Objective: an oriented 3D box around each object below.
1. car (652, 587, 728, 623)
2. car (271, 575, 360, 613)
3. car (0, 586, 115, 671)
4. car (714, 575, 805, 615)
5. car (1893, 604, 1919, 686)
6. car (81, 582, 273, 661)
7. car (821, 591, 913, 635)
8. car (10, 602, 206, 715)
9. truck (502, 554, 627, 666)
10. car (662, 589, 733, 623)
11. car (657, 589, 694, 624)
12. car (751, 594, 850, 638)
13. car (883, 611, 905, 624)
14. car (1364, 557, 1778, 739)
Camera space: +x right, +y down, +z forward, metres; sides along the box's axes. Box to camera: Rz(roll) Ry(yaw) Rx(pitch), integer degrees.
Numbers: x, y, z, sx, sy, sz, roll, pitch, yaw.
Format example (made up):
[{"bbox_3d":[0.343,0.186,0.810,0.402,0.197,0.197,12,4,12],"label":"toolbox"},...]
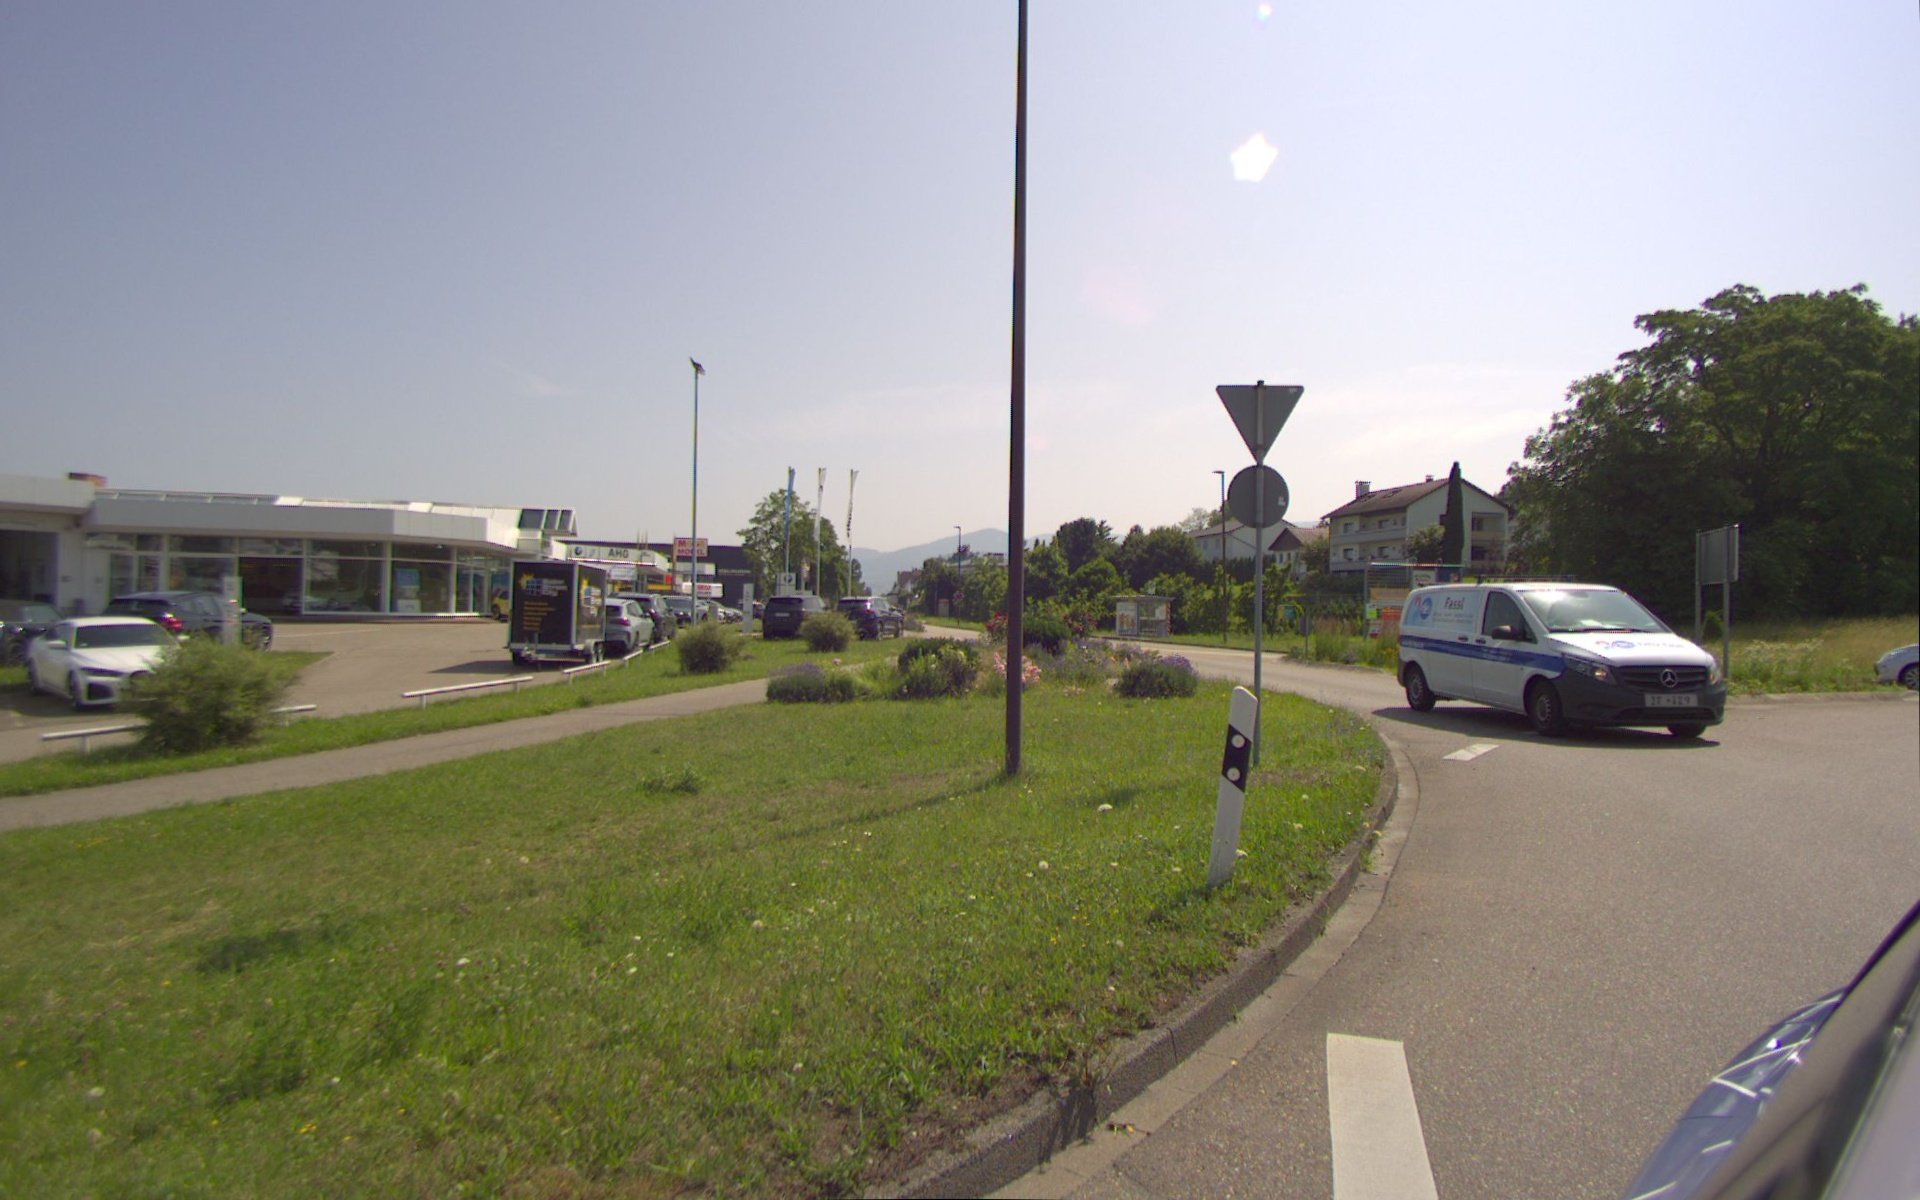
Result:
[{"bbox_3d":[-15.964,0.318,59.989,4.173,2.039,2.003,-1,-1,-10],"label":"car"},{"bbox_3d":[-28.730,-0.257,45.244,1.870,1.606,4.047,1,0,-9],"label":"car"},{"bbox_3d":[-20.308,0.539,21.612,1.908,1.518,4.018,2,1,-14],"label":"car"},{"bbox_3d":[-8.281,-0.205,42.203,1.884,1.531,4.350,1,0,18],"label":"car"},{"bbox_3d":[21.115,0.898,19.685,2.092,1.637,4.189,4,-4,-42],"label":"car"},{"bbox_3d":[-18.080,0.413,23.663,1.909,1.518,4.437,0,3,-14],"label":"car"},{"bbox_3d":[-3.415,0.447,37.909,1.884,1.531,4.350,1,0,18],"label":"car"},{"bbox_3d":[-15.702,0.959,18.576,4.640,1.590,1.745,4,2,37],"label":"car"},{"bbox_3d":[-10.513,0.234,27.337,1.909,2.698,5.636,1,0,-9],"label":"truck"},{"bbox_3d":[-16.403,0.377,63.335,4.173,2.039,2.003,-1,-1,-10],"label":"car"},{"bbox_3d":[-14.540,0.348,51.844,1.549,1.675,3.703,-1,-1,-11],"label":"car"},{"bbox_3d":[-5.865,0.560,37.817,1.884,1.531,4.350,1,0,18],"label":"car"},{"bbox_3d":[-8.323,2.153,126.664,1.736,1.503,4.049,1,0,-19],"label":"car"},{"bbox_3d":[7.785,0.564,13.727,1.822,1.963,5.237,-1,-1,-9],"label":"car"}]
